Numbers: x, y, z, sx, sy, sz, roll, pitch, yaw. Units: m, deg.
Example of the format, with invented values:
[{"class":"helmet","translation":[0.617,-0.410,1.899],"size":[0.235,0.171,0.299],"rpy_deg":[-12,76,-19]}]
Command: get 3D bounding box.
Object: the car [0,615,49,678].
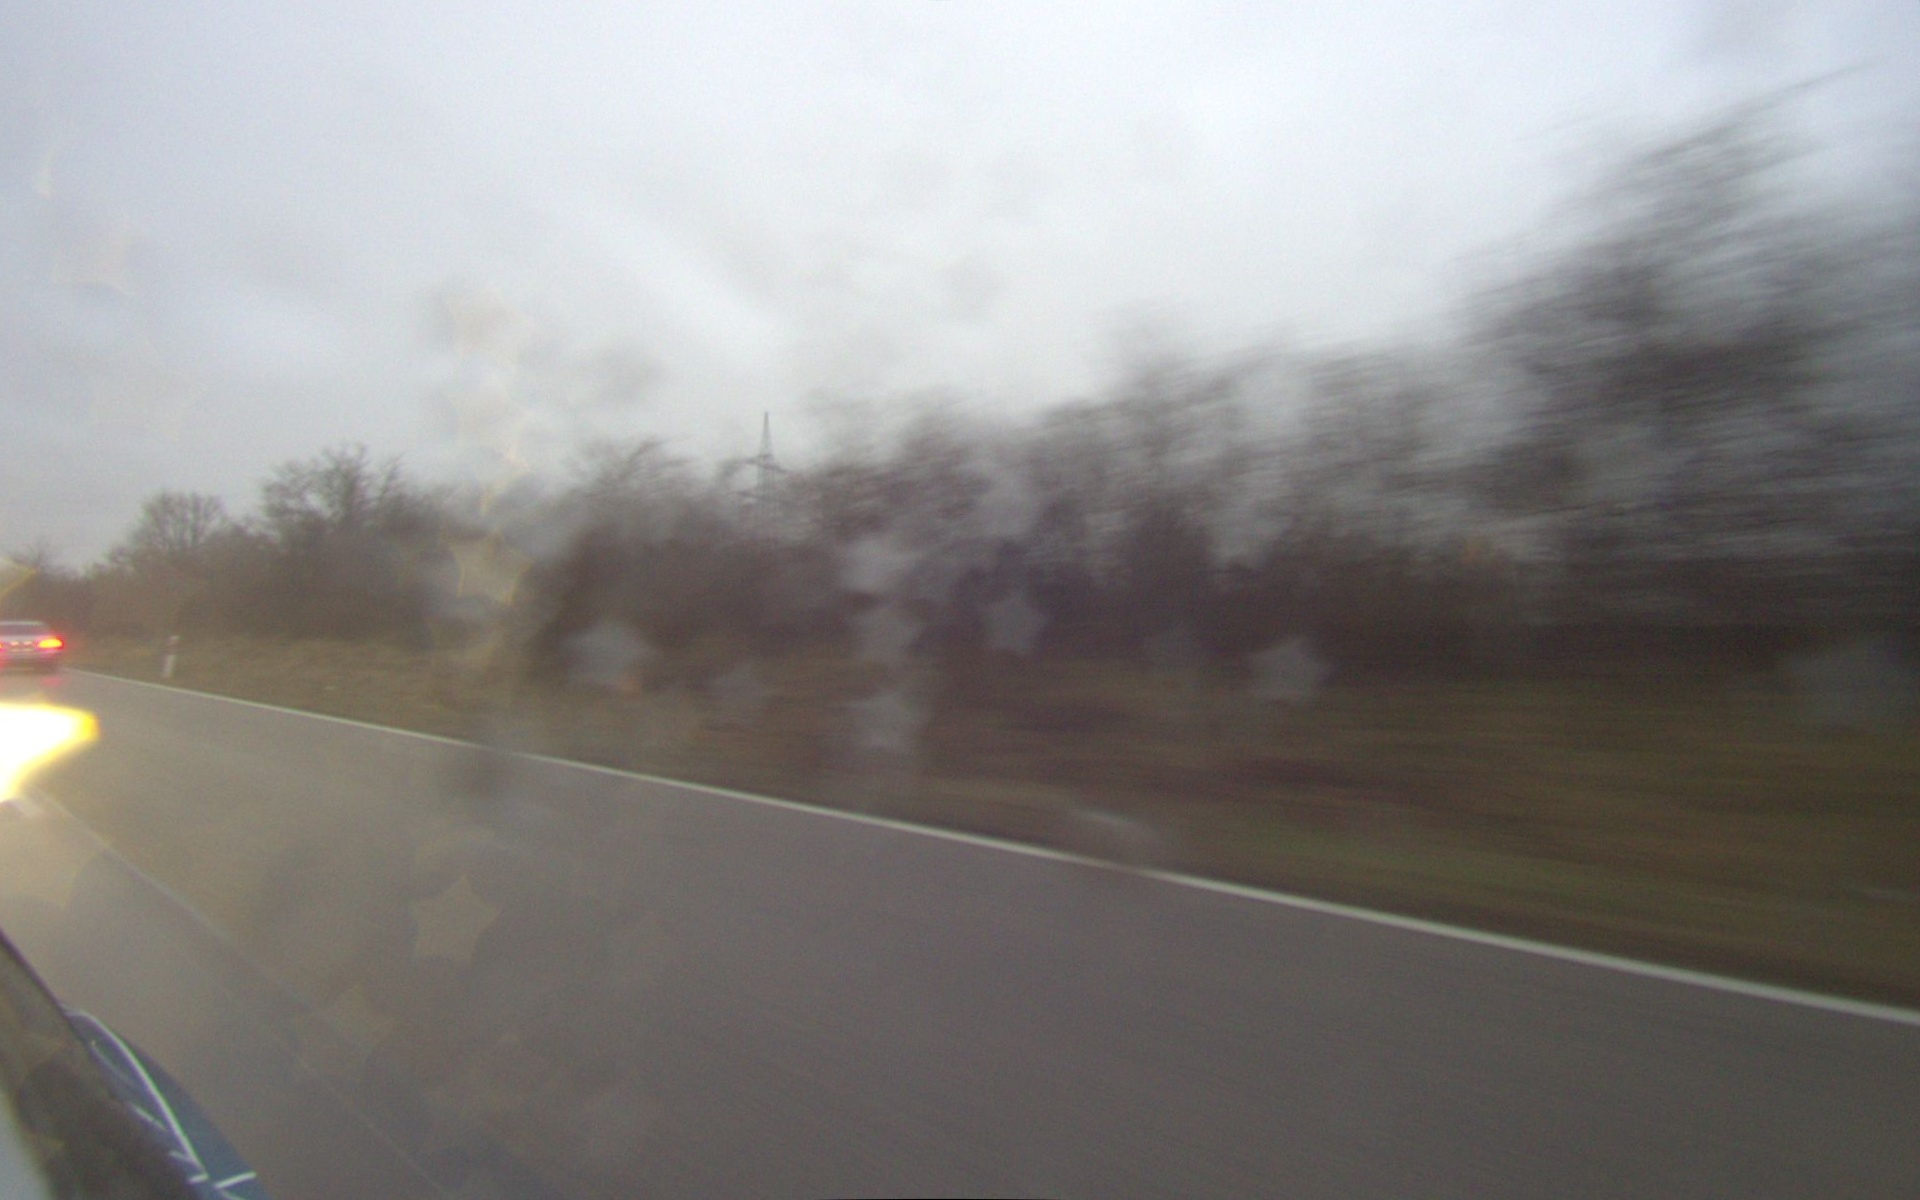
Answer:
[{"class":"car","translation":[-27.288,1.297,28.662],"size":[4.684,1.653,1.740],"rpy_deg":[-1,0,42]}]
